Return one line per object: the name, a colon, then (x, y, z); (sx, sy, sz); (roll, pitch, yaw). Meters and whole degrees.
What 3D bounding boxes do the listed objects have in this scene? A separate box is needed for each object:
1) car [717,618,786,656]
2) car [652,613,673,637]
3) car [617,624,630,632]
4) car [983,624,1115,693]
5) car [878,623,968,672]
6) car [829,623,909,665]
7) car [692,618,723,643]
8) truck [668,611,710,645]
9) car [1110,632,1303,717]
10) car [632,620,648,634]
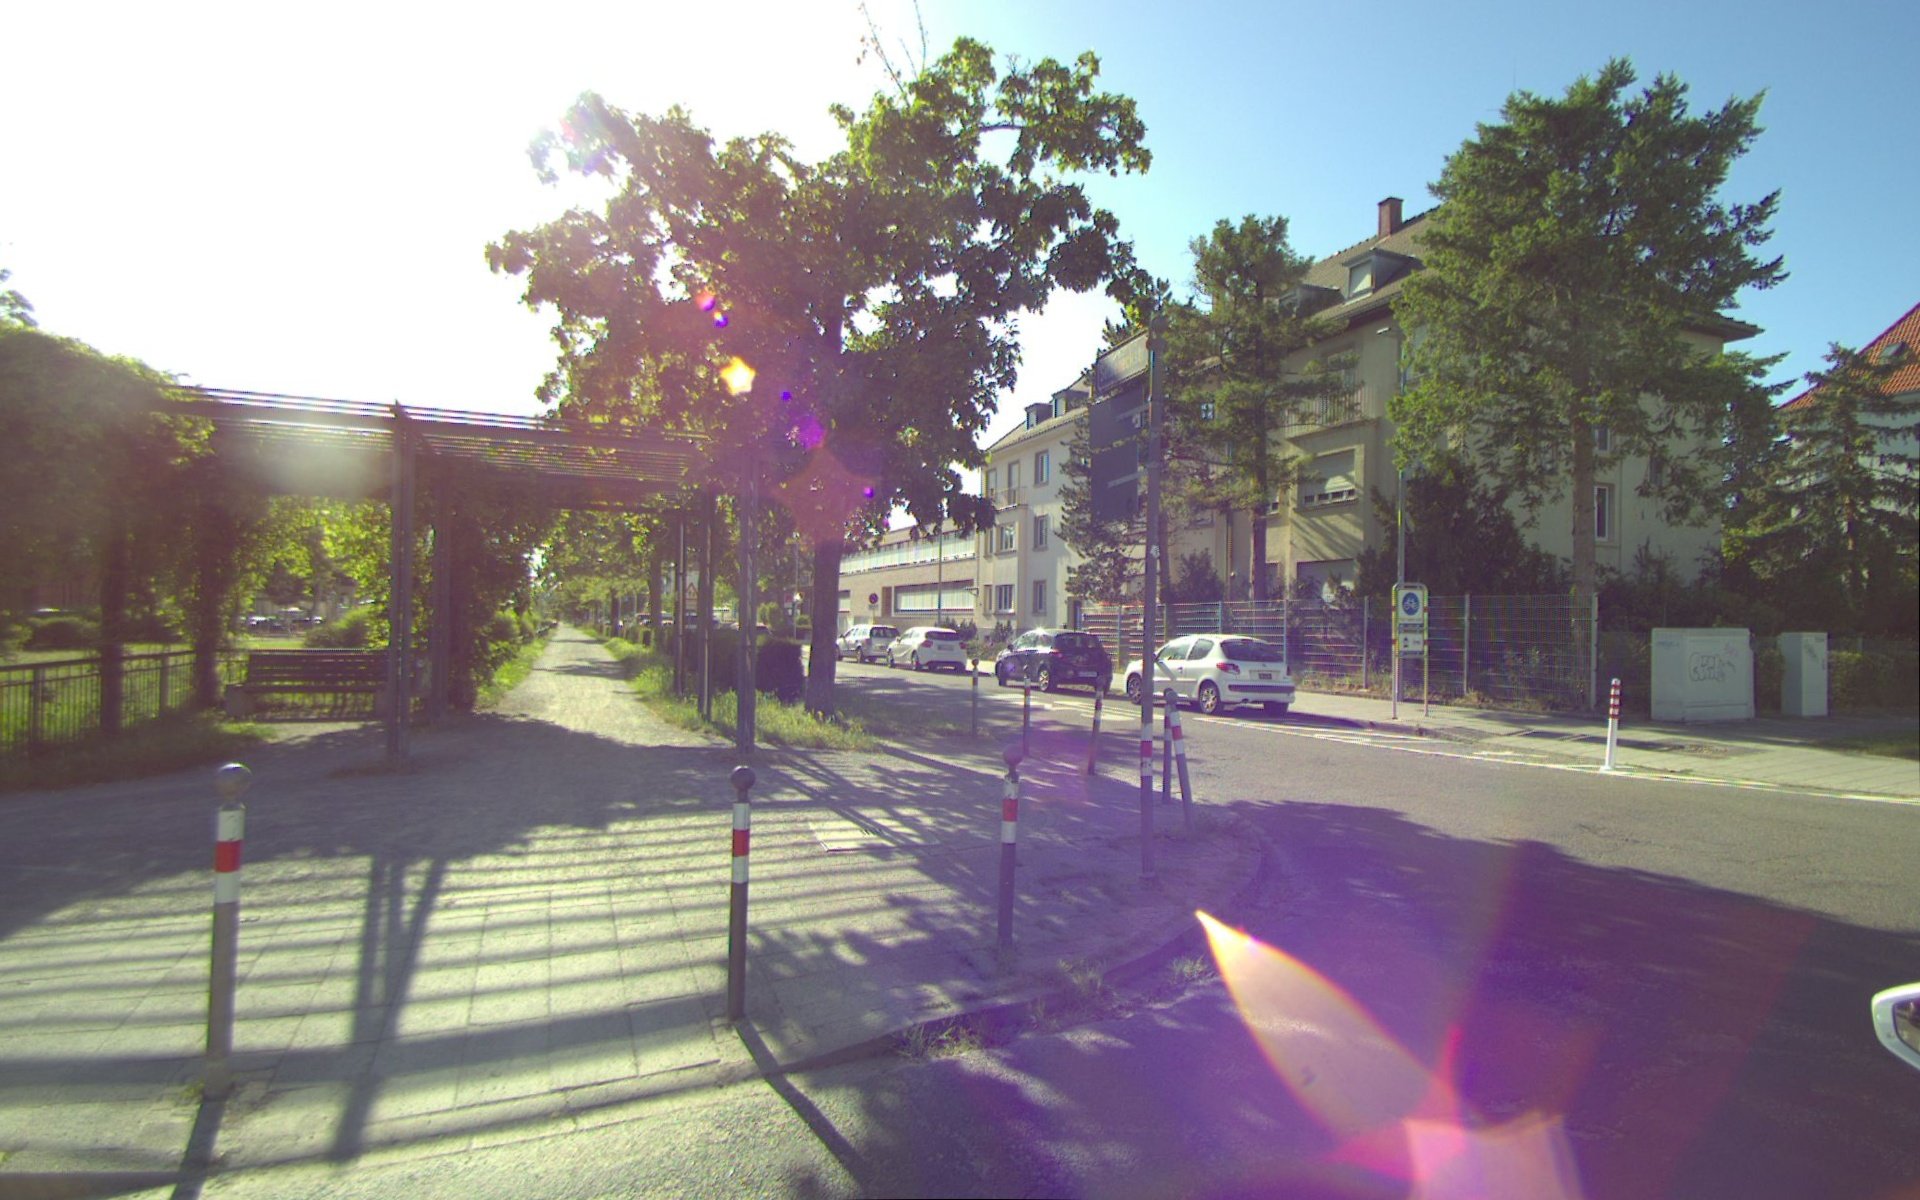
car: (-9.216, 1.591, 44.133); (1.973, 1.545, 4.727); (1, -2, -25)
car: (-32.907, 2.766, 111.195); (1.797, 2.551, 3.979); (1, -2, -22)
car: (-56.539, 4.659, 168.652); (1.797, 1.376, 3.979); (1, -2, -22)
car: (2.095, 1.386, 24.601); (1.653, 1.514, 3.806); (2, -2, -22)
car: (-1.317, 1.586, 34.152); (1.775, 1.514, 3.979); (2, -2, -22)
car: (-3.665, 1.708, 39.813); (1.778, 1.514, 3.973); (3, -2, -27)
car: (-19.560, 2.354, 77.762); (1.797, 1.854, 3.979); (1, -2, -22)
truck: (-17.280, 1.765, 63.902); (1.971, 2.063, 4.848); (1, -1, -22)
car: (4.584, 1.353, 19.208); (1.682, 1.416, 3.756); (2, -2, -23)
car: (-44.050, 3.667, 138.130); (1.797, 1.859, 3.979); (1, -2, -22)
